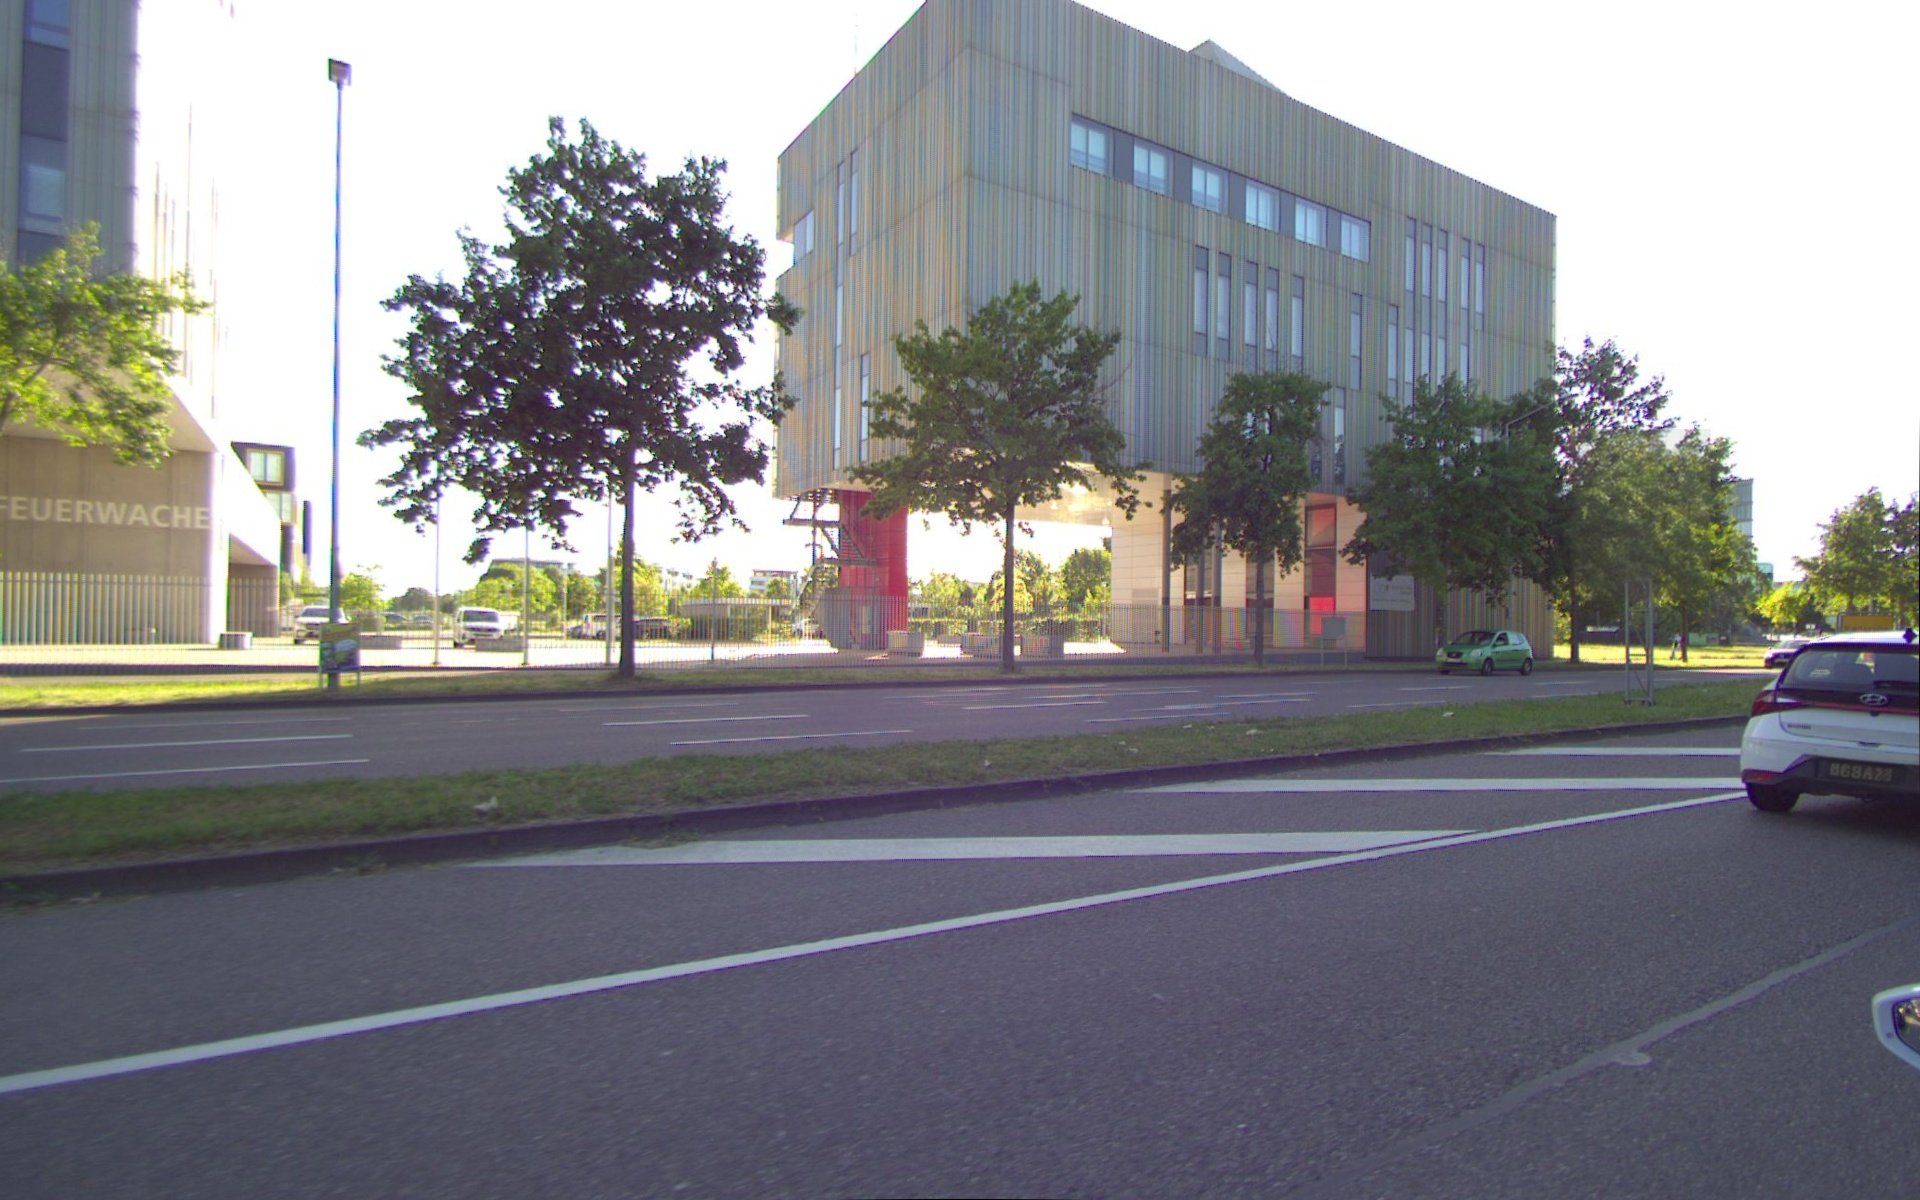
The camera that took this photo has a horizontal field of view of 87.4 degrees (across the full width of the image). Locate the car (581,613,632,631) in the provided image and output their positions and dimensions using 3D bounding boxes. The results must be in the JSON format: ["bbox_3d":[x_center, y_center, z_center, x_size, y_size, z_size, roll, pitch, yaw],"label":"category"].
[{"bbox_3d":[-25.858,1.637,73.470,3.348,1.275,1.354,1,-1,-33],"label":"car"}]

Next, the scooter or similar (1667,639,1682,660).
[{"bbox_3d":[39.608,2.733,55.682,1.313,1.164,0.230,2,-1,-32],"label":"scooter or similar"}]

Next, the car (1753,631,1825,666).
[{"bbox_3d":[39.103,2.254,47.350,3.984,1.528,1.541,1,-1,-34],"label":"car"}]

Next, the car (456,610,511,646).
[{"bbox_3d":[-21.519,1.247,45.248,1.912,1.523,4.367,1,-1,-30],"label":"car"}]

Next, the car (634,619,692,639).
[{"bbox_3d":[-18.976,1.860,64.203,3.348,1.275,1.354,1,-1,-33],"label":"car"}]

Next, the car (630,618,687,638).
[{"bbox_3d":[-19.660,1.843,65.563,3.348,1.275,1.354,1,-1,-33],"label":"car"}]

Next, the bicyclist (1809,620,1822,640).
[{"bbox_3d":[59.831,2.113,70.227,0.835,1.413,0.479,2,-1,-33],"label":"bicyclist"}]

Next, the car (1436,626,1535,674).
[{"bbox_3d":[17.140,1.599,32.726,3.423,1.455,1.437,1,-1,-34],"label":"car"}]

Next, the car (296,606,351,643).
[{"bbox_3d":[-26.645,0.993,42.152,1.741,1.472,4.236,1,-1,-30],"label":"car"}]

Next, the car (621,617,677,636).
[{"bbox_3d":[-20.767,1.778,67.038,3.348,1.275,1.354,1,-1,-33],"label":"car"}]

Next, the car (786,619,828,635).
[{"bbox_3d":[-13.317,2.364,87.534,3.408,1.401,1.421,2,-1,-35],"label":"car"}]

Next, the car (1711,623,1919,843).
[{"bbox_3d":[7.915,0.927,7.957,4.028,1.427,1.769,1,0,-31],"label":"car"}]

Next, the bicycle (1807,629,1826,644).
[{"bbox_3d":[59.969,2.558,70.306,2.074,1.016,0.484,2,-1,-34],"label":"bicycle"}]
